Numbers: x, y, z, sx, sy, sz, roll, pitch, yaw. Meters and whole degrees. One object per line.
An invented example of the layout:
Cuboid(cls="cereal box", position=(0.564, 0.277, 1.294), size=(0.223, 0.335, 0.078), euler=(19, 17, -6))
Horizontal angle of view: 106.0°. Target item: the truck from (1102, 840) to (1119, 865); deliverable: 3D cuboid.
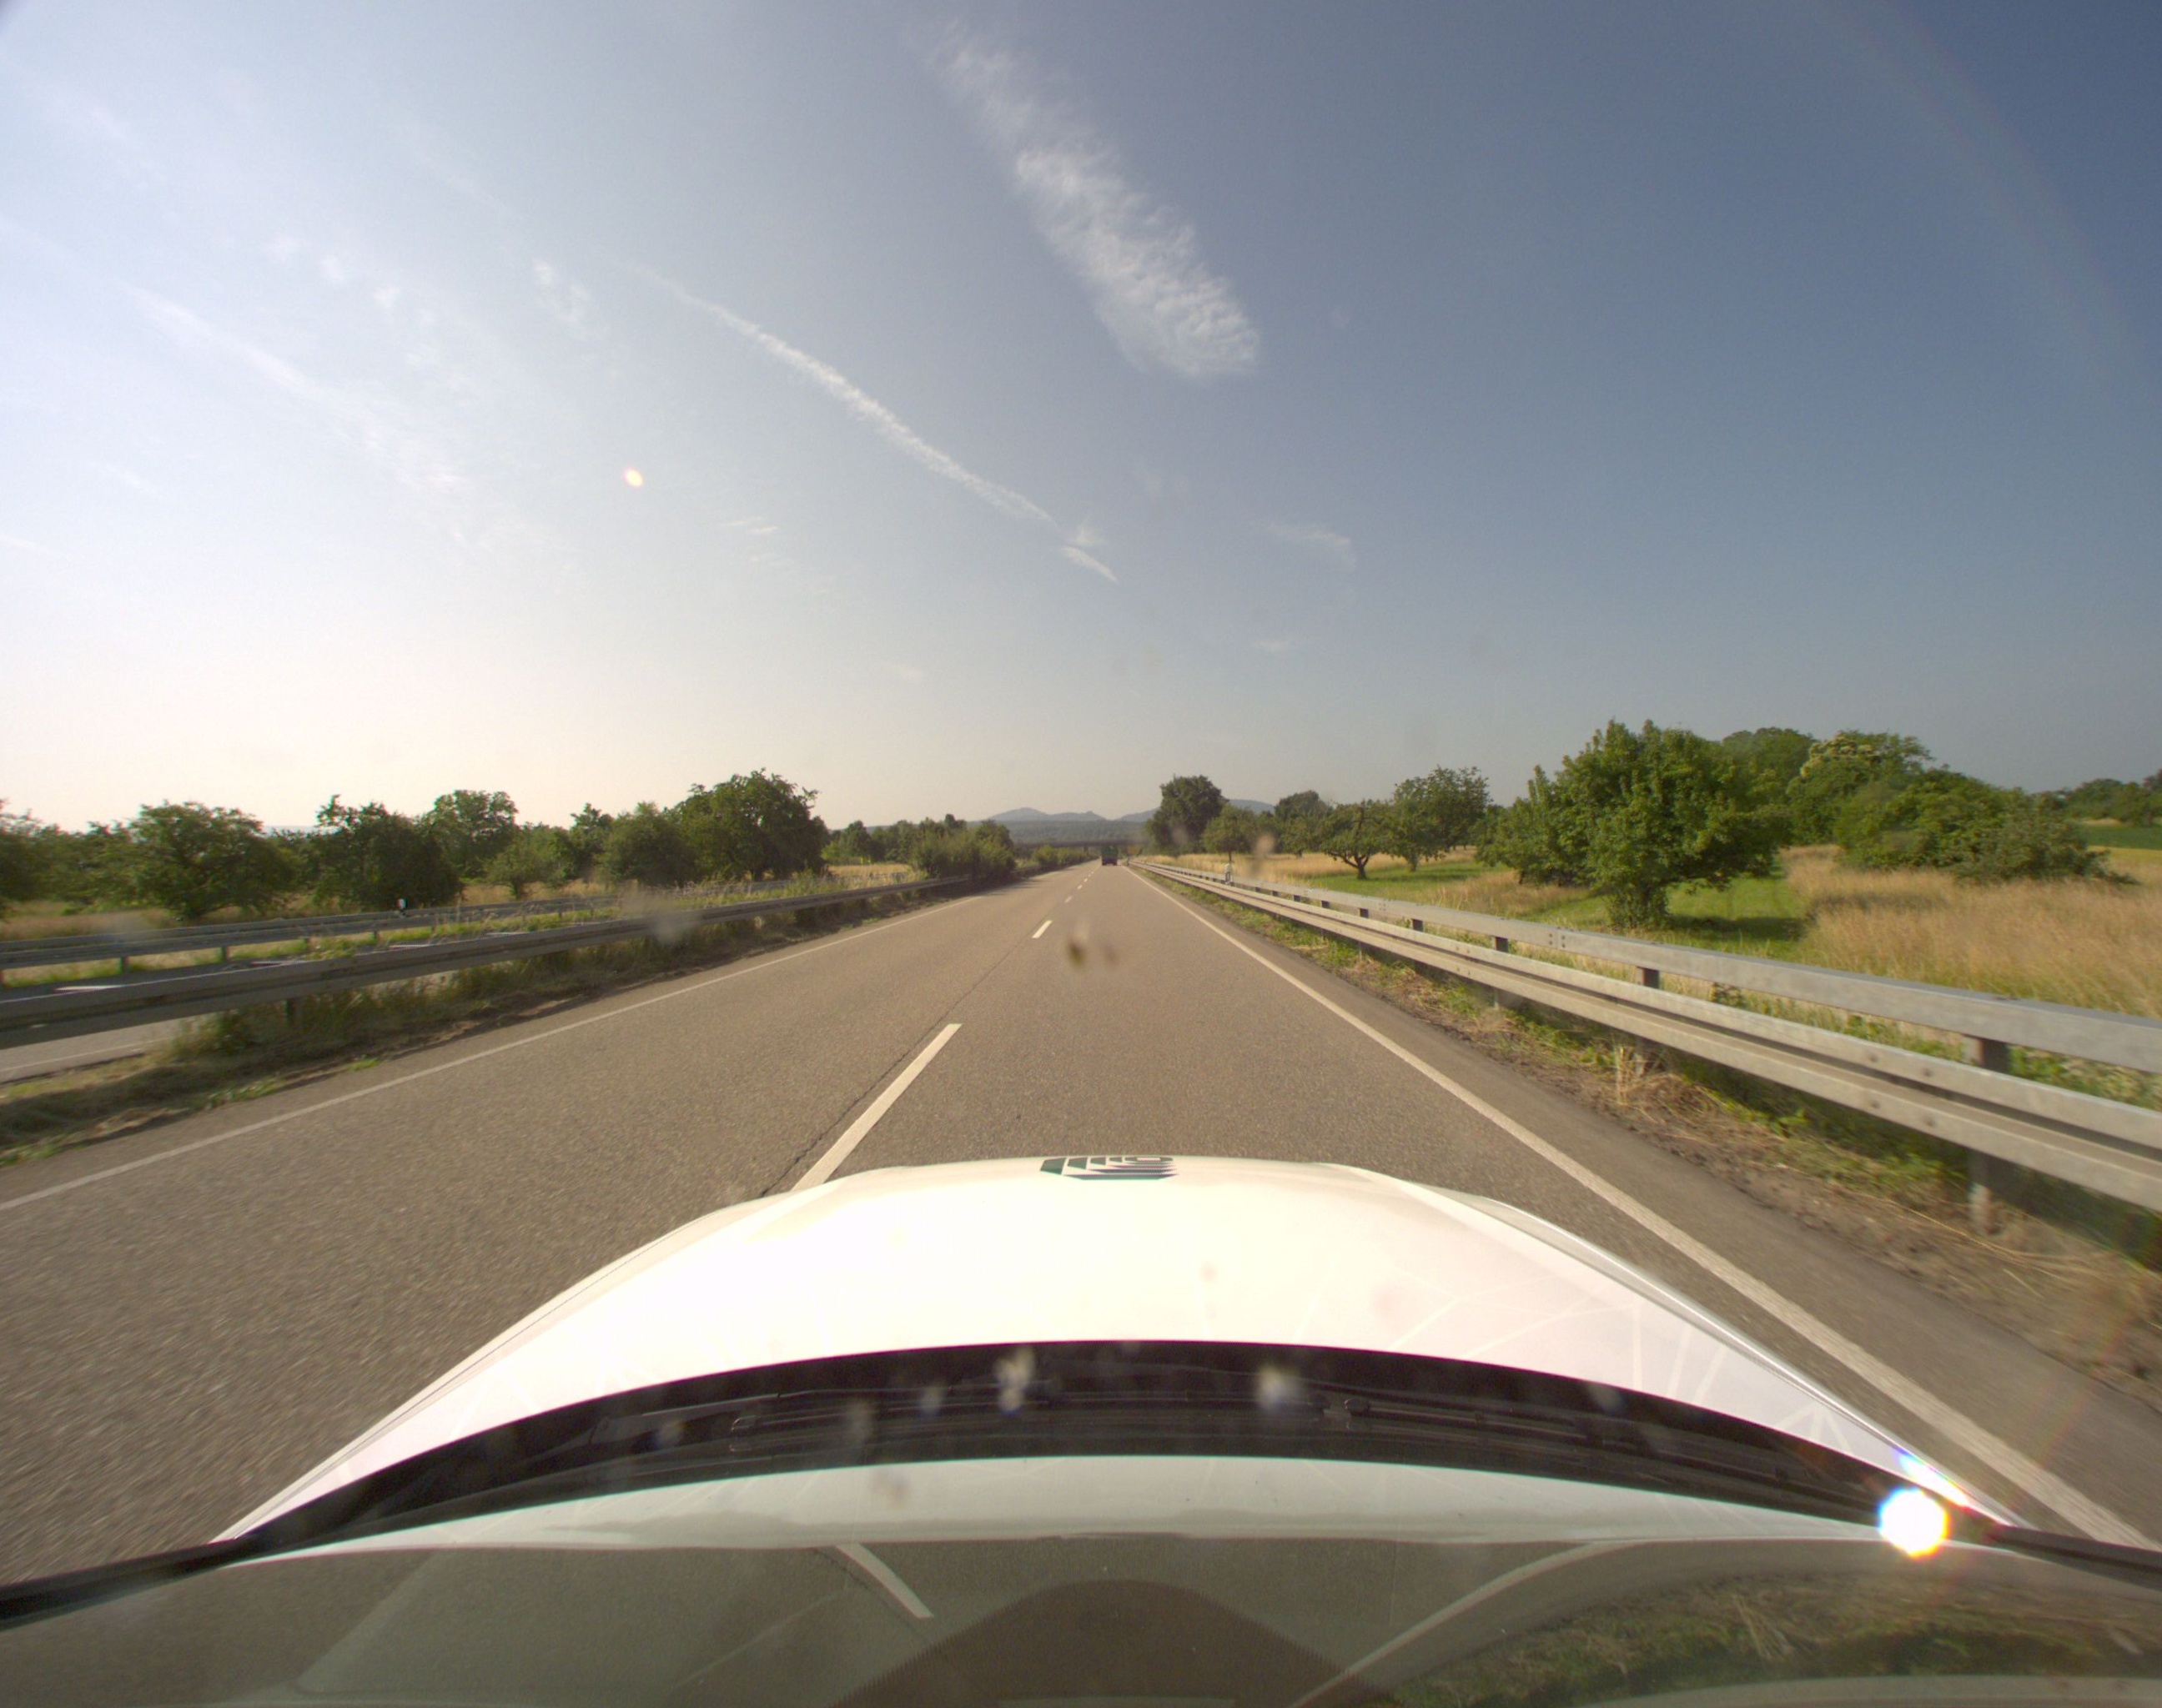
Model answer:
Cuboid(cls="truck", position=(4.904, -0.374, 134.360), size=(2.711, 3.965, 10.422), euler=(0, 1, 2))
